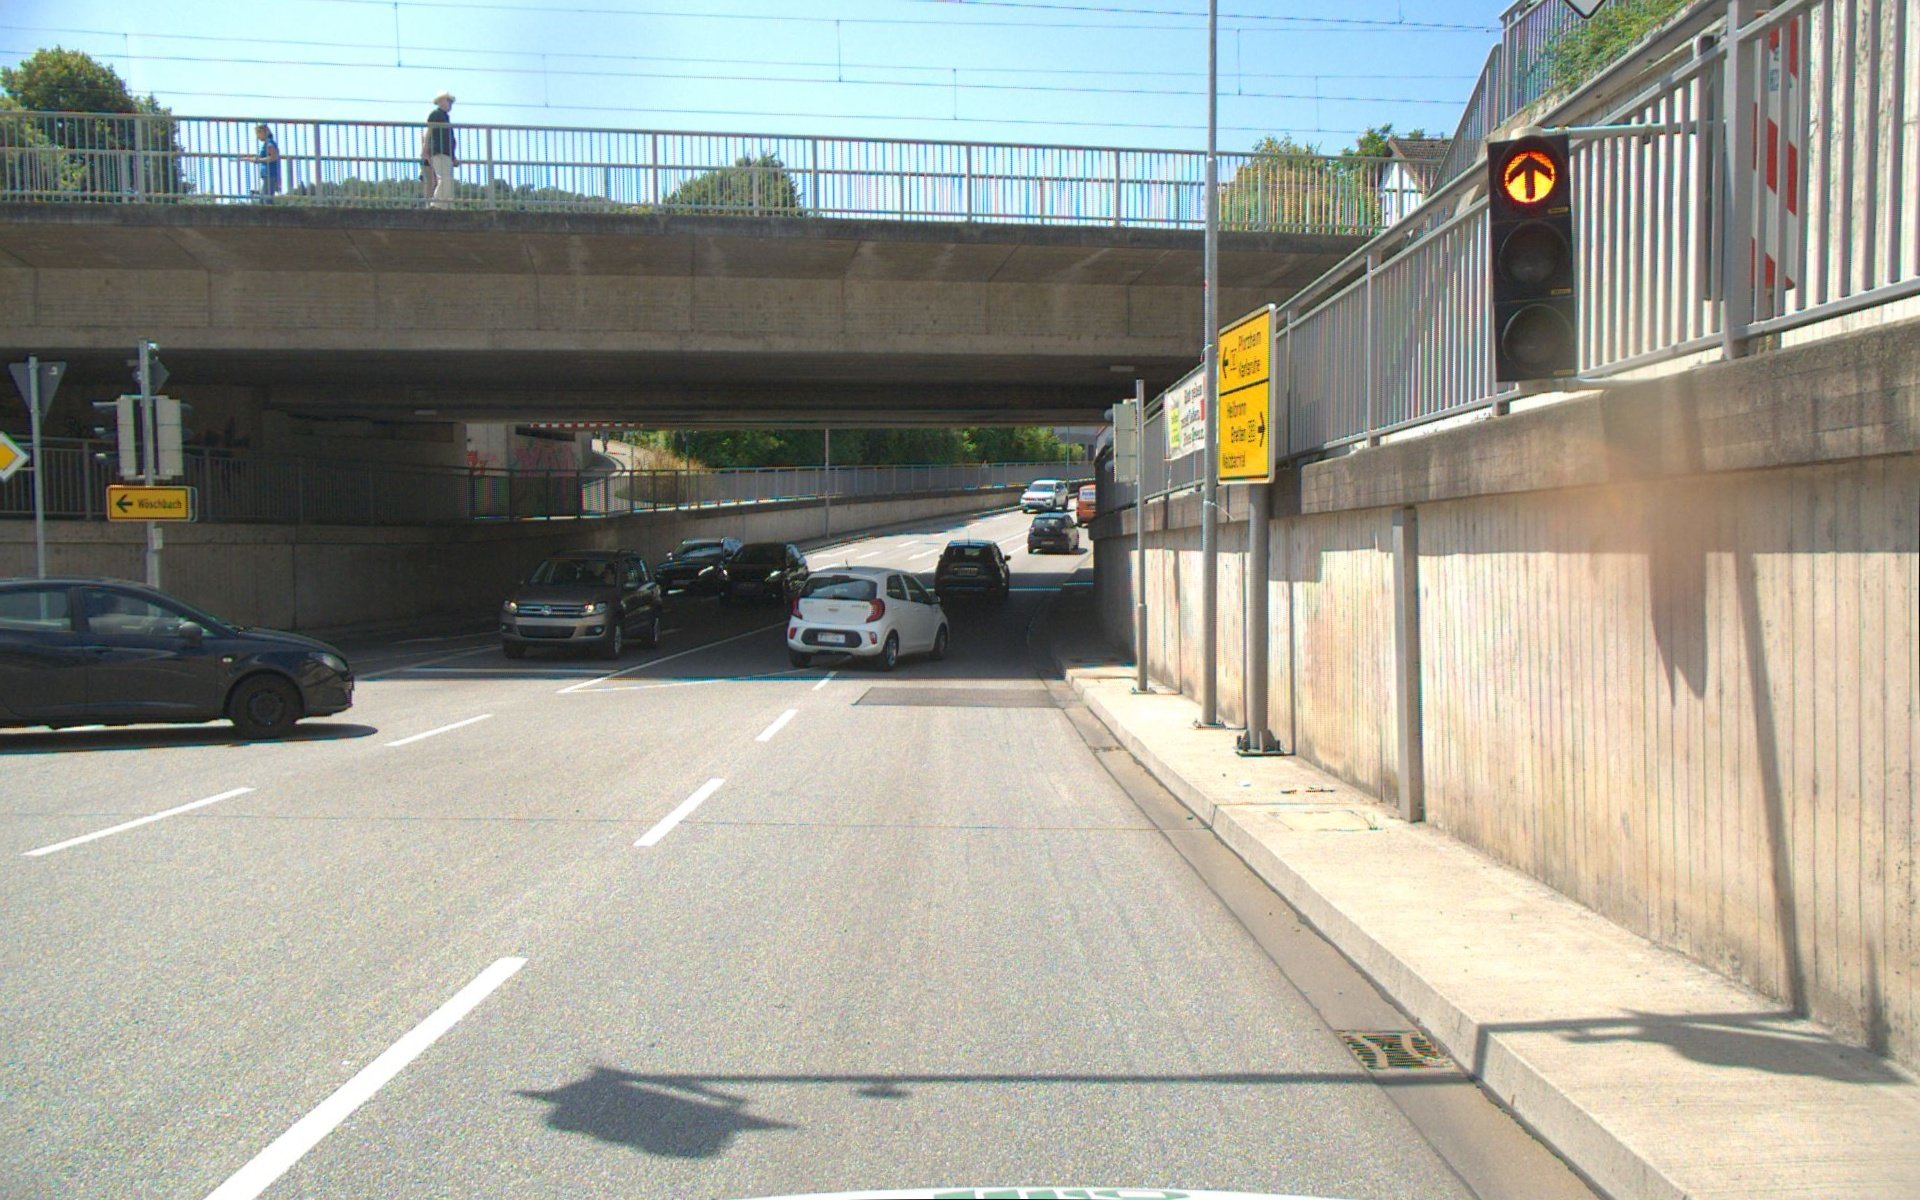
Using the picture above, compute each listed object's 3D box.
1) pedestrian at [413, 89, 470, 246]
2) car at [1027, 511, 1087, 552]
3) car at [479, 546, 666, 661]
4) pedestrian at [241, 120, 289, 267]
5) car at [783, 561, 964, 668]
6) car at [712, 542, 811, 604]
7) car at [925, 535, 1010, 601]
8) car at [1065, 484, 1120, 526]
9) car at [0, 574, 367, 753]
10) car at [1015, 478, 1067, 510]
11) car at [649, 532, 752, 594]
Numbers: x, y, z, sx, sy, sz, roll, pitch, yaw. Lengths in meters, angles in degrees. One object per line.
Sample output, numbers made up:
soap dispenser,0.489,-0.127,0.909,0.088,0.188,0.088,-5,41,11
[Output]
pedestrian,-7.580,-6.310,24.207,0.564,2.117,0.535,-1,0,17
car,3.821,-2.675,64.631,1.951,1.534,4.004,0,2,9
car,-6.145,-0.009,26.706,1.952,1.655,4.002,0,3,2
pedestrian,-10.663,-6.220,25.388,0.529,2.117,0.534,-1,0,-8
car,-1.273,0.162,25.962,1.688,1.444,4.004,1,3,15
car,-5.030,-0.731,42.368,1.744,1.461,4.004,0,3,5
car,0.246,-0.882,43.599,1.951,1.616,4.004,0,3,5
car,6.388,-4.533,79.308,1.833,1.965,4.724,1,3,14
car,-7.527,0.509,14.864,3.941,1.398,1.752,-1,3,-28
car,4.460,-5.842,90.464,1.951,1.615,4.005,2,5,16
car,-7.217,-1.078,46.318,1.951,1.616,4.004,0,3,5
